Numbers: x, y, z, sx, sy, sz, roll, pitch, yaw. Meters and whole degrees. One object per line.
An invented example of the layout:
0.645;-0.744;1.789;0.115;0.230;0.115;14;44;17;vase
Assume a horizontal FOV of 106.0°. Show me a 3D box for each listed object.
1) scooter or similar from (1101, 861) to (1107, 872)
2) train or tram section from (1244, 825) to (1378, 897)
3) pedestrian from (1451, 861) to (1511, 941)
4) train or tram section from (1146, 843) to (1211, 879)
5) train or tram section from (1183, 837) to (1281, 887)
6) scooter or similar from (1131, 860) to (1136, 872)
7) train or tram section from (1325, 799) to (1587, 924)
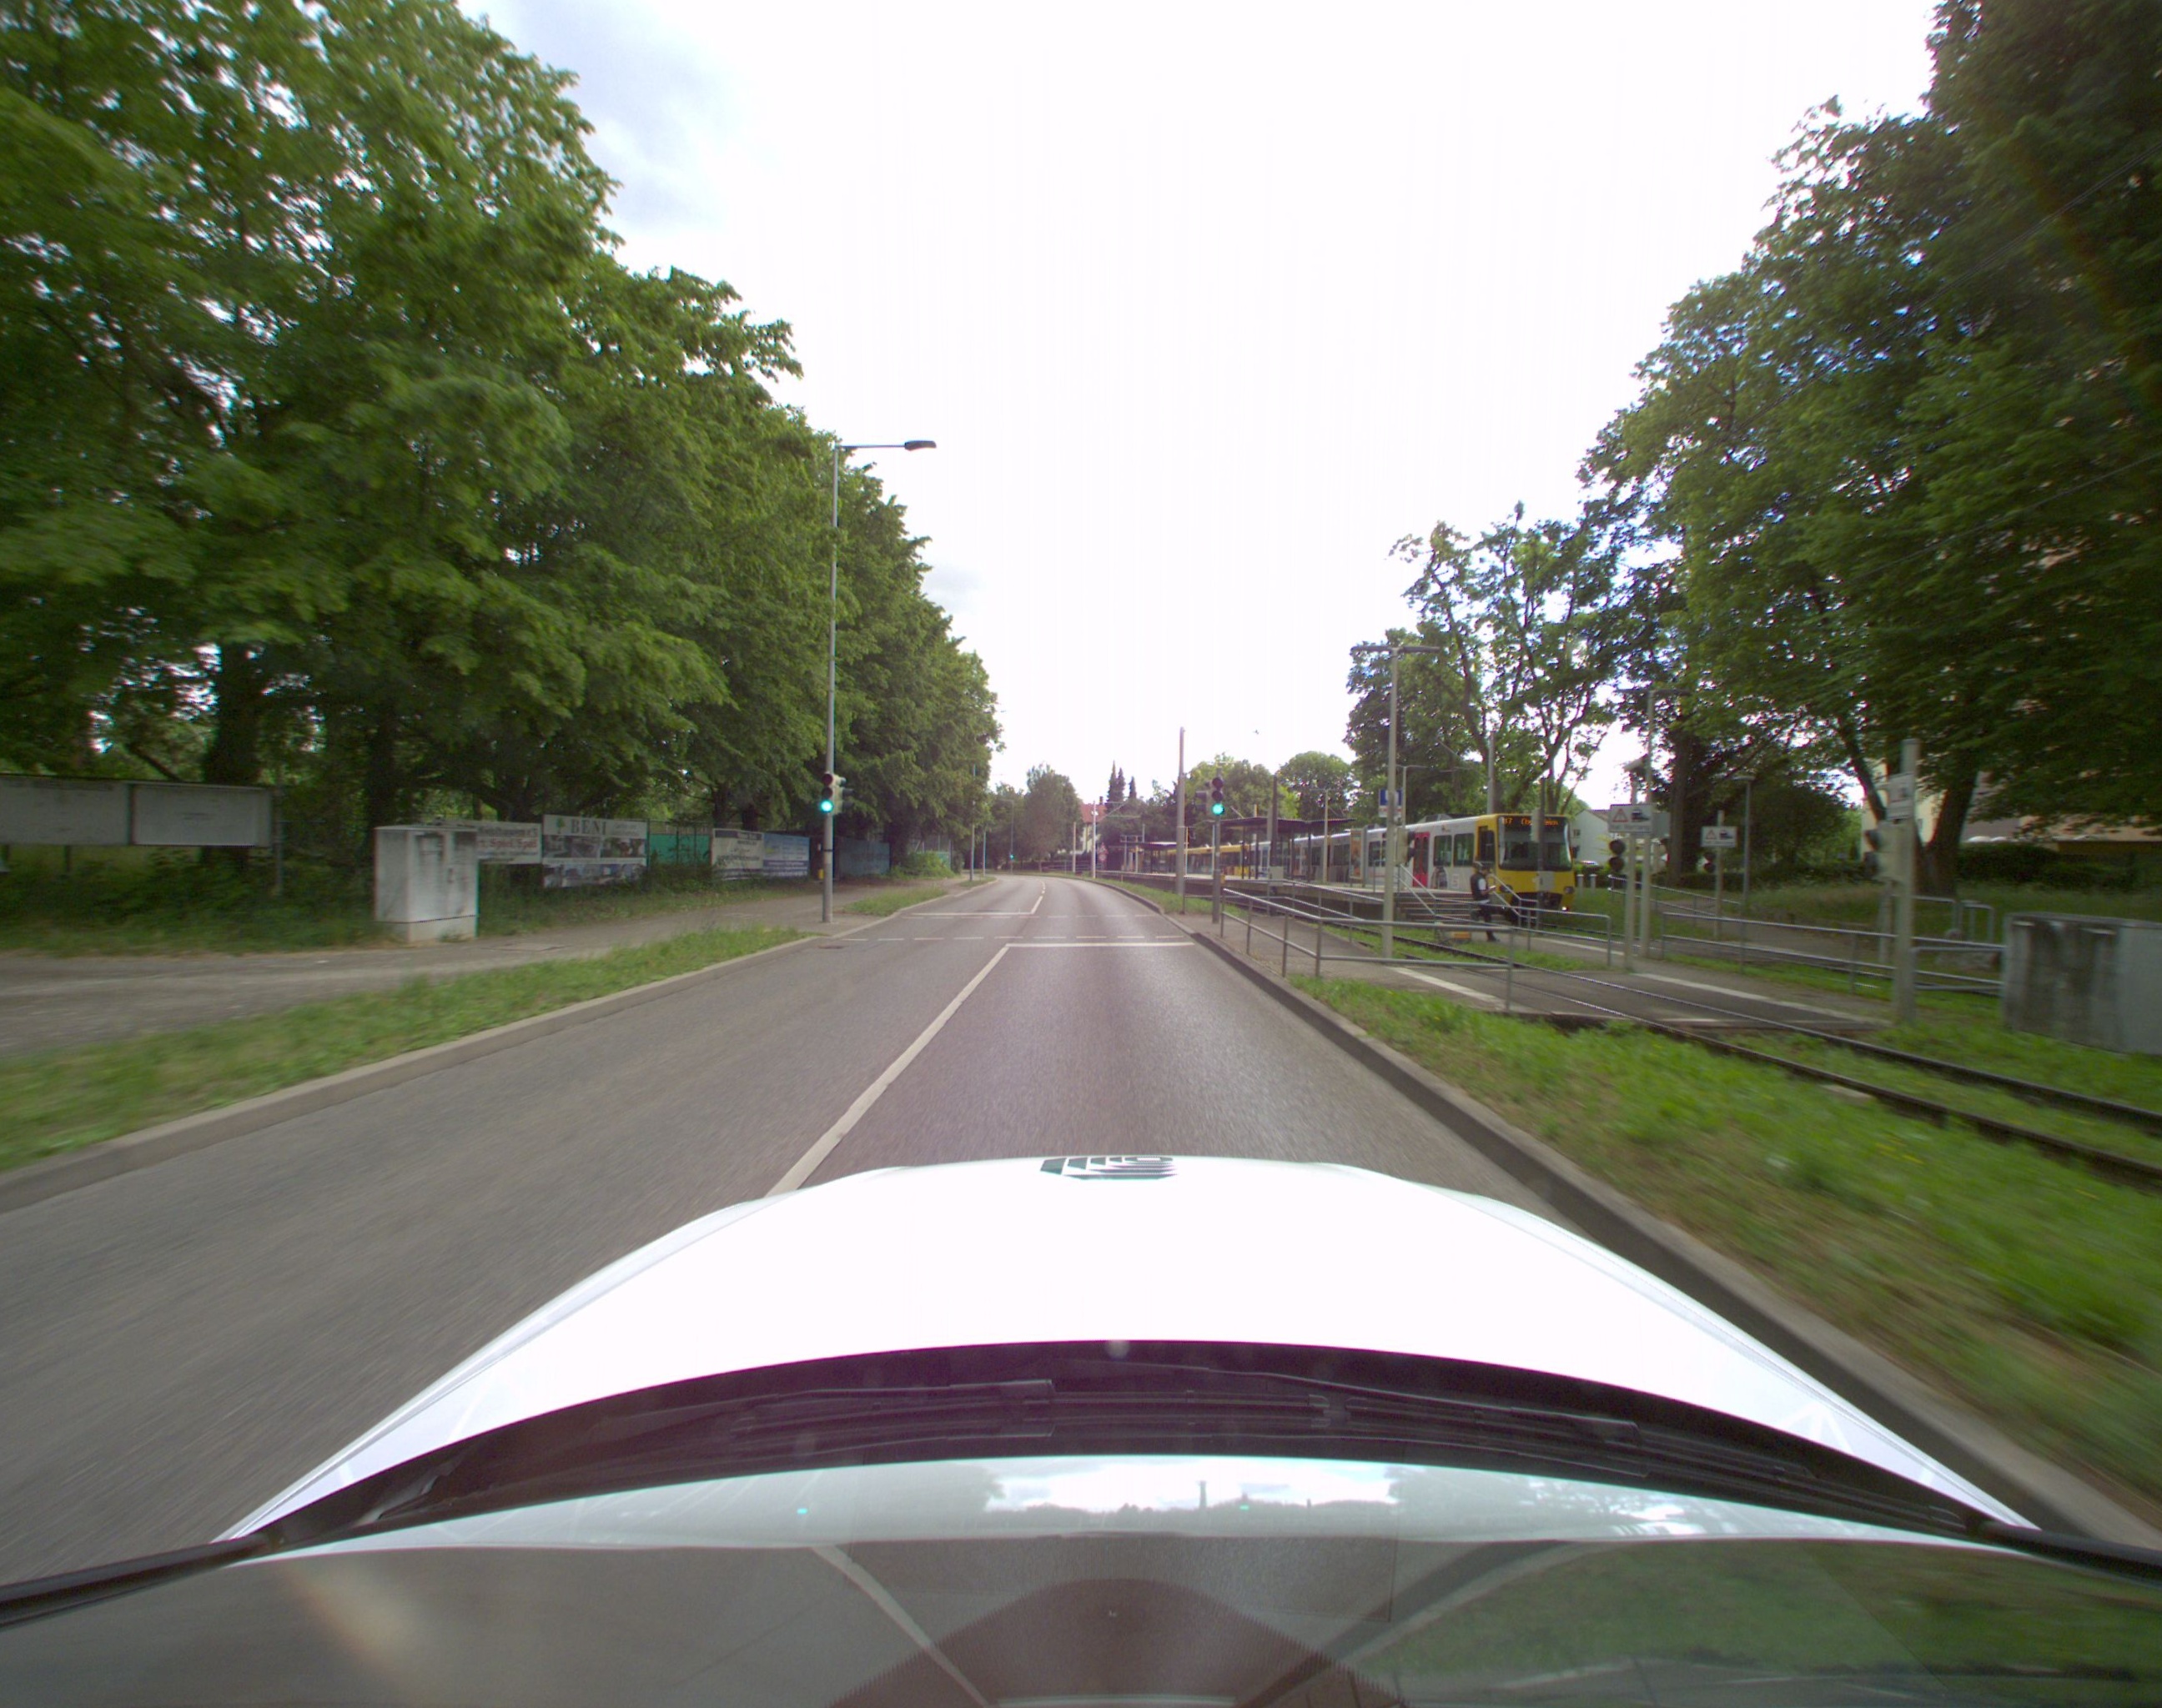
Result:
2.821;1.566;99.476;0.430;1.253;1.248;0;-3;-15;scooter or similar
14.146;0.481;52.883;2.806;3.799;18.919;2;-1;-1;train or tram section
9.198;1.066;18.751;0.983;1.758;0.727;2;0;-9;pedestrian
10.536;0.788;91.143;2.810;3.589;19.467;2;-1;-6;train or tram section
12.725;0.679;71.627;2.810;3.737;19.467;2;-1;-6;train or tram section
5.782;1.307;89.646;0.368;1.242;1.143;0;-1;-7;scooter or similar
14.178;0.340;34.010;2.803;3.737;18.536;2;-1;1;train or tram section
